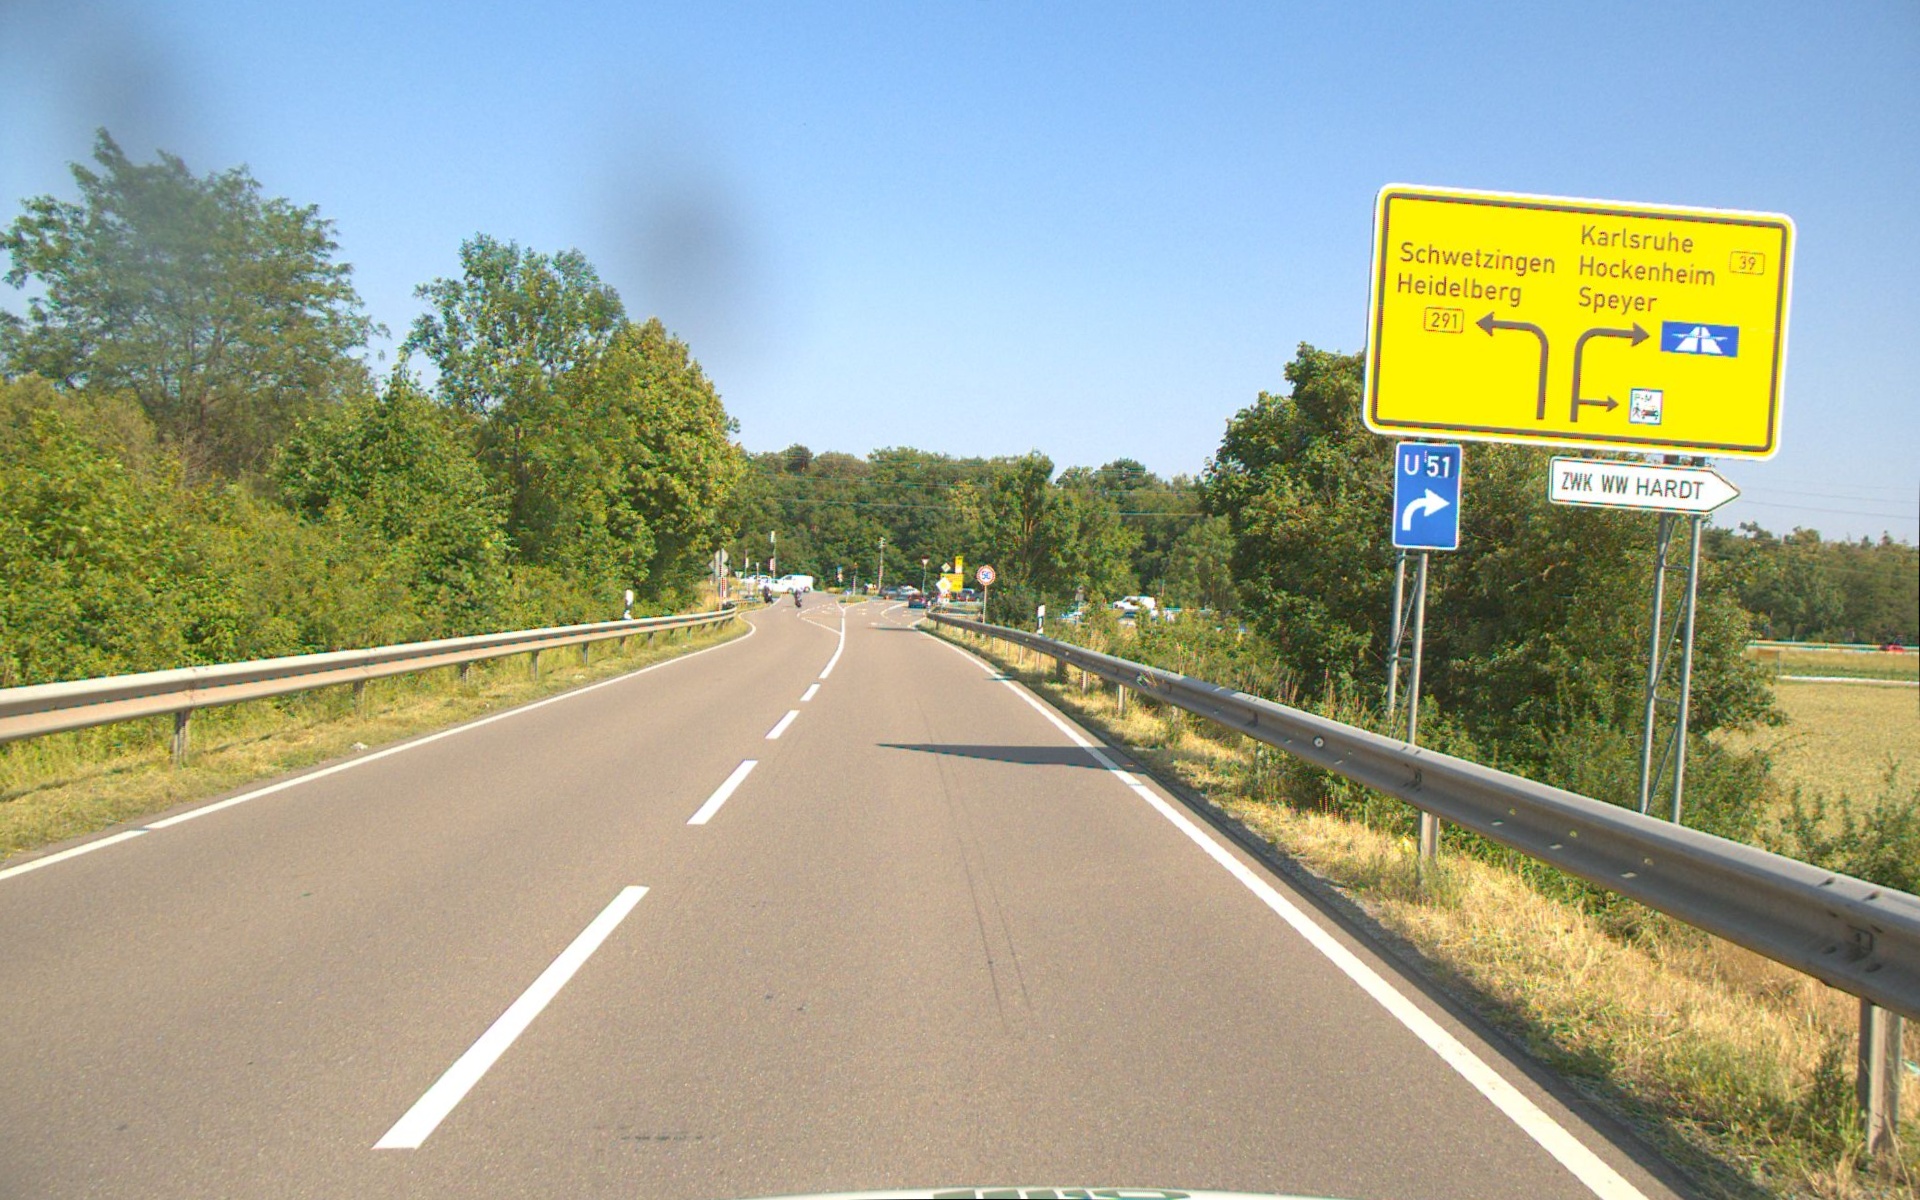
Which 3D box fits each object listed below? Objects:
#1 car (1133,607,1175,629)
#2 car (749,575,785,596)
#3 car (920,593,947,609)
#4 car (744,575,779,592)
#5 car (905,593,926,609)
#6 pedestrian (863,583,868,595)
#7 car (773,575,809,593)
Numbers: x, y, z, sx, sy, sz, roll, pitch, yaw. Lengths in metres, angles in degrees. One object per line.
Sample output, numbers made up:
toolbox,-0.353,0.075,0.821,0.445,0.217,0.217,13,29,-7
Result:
car,20.448,1.887,174.637,3.923,1.909,1.884,6,1,36
car,-21.159,-1.610,181.270,3.912,2.048,1.798,2,1,-8
car,-2.745,0.152,169.500,1.761,1.527,4.003,3,0,14
car,-24.639,-2.075,205.249,3.936,2.049,1.782,1,0,-25
car,-4.331,0.065,162.355,1.762,1.422,4.001,-3,0,2
pedestrian,-11.414,-1.337,199.925,0.512,1.415,0.514,1,0,21
car,-19.618,-1.850,191.627,3.919,2.049,1.993,1,0,-14
